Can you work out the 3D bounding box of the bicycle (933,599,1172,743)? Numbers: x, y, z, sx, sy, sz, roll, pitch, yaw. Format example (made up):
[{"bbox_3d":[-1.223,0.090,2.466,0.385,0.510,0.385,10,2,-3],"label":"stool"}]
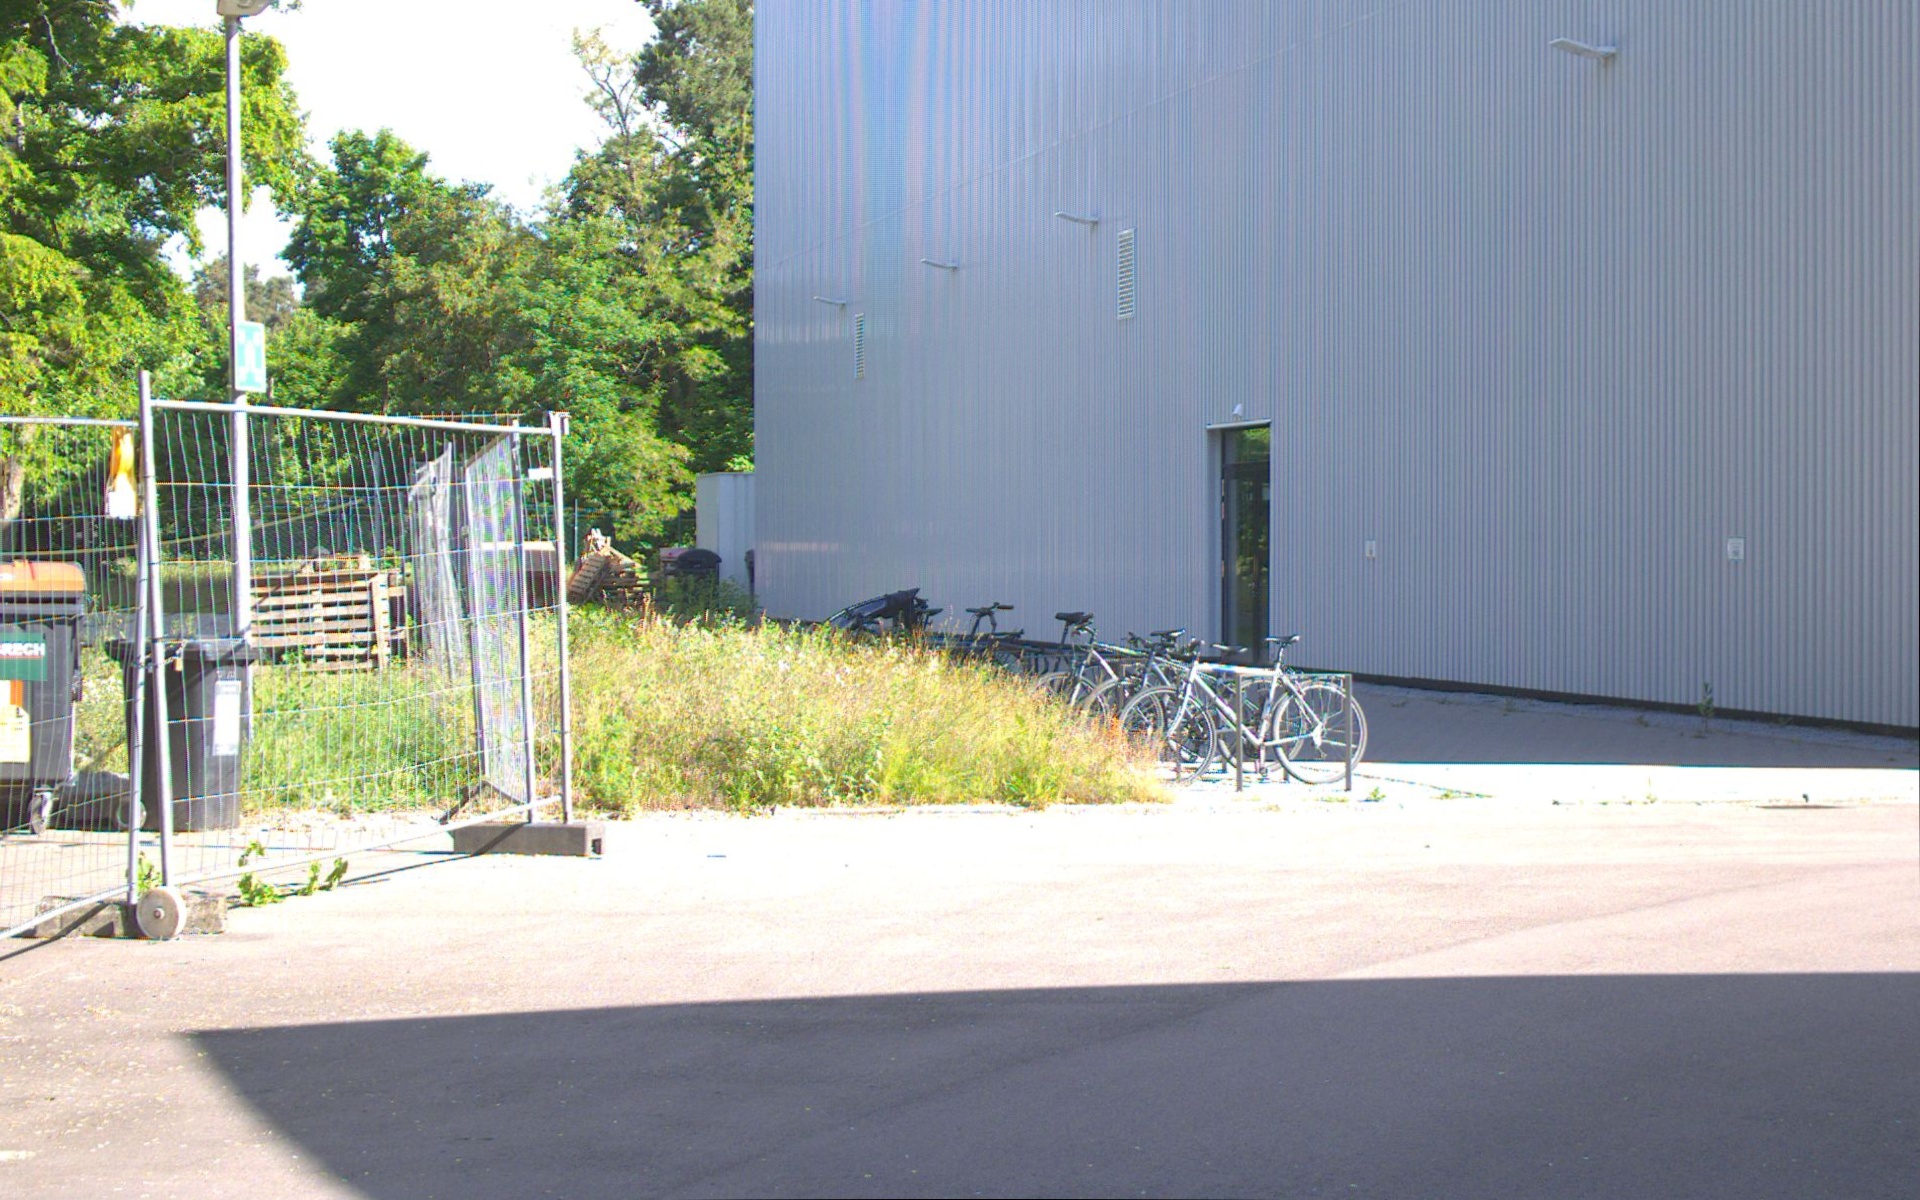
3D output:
[{"bbox_3d":[0.753,0.564,27.846,1.883,1.122,0.433,-1,1,-15],"label":"bicycle"}]

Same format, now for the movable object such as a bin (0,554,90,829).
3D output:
[{"bbox_3d":[-5.327,0.474,18.252,1.287,1.421,1.033,-1,1,-18],"label":"movable object such as a bin"}]

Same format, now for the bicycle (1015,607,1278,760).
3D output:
[{"bbox_3d":[1.372,0.602,25.256,1.883,1.078,0.433,-1,1,-15],"label":"bicycle"}]

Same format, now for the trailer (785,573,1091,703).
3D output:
[{"bbox_3d":[-0.226,0.347,33.158,2.710,1.195,1.246,-1,1,-15],"label":"trailer"}]

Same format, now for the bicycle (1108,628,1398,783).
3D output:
[{"bbox_3d":[1.945,0.692,22.810,1.883,0.974,0.433,-1,1,-15],"label":"bicycle"}]

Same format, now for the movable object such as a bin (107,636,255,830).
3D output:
[{"bbox_3d":[-4.162,0.704,18.397,0.641,1.004,0.605,0,1,1],"label":"movable object such as a bin"}]

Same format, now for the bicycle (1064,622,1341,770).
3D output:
[{"bbox_3d":[1.693,0.660,23.947,1.883,0.974,0.433,-1,1,-15],"label":"bicycle"}]

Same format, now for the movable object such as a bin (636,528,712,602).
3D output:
[{"bbox_3d":[-6.537,-0.794,78.401,1.363,1.650,2.843,-1,1,-12],"label":"movable object such as a bin"}]
